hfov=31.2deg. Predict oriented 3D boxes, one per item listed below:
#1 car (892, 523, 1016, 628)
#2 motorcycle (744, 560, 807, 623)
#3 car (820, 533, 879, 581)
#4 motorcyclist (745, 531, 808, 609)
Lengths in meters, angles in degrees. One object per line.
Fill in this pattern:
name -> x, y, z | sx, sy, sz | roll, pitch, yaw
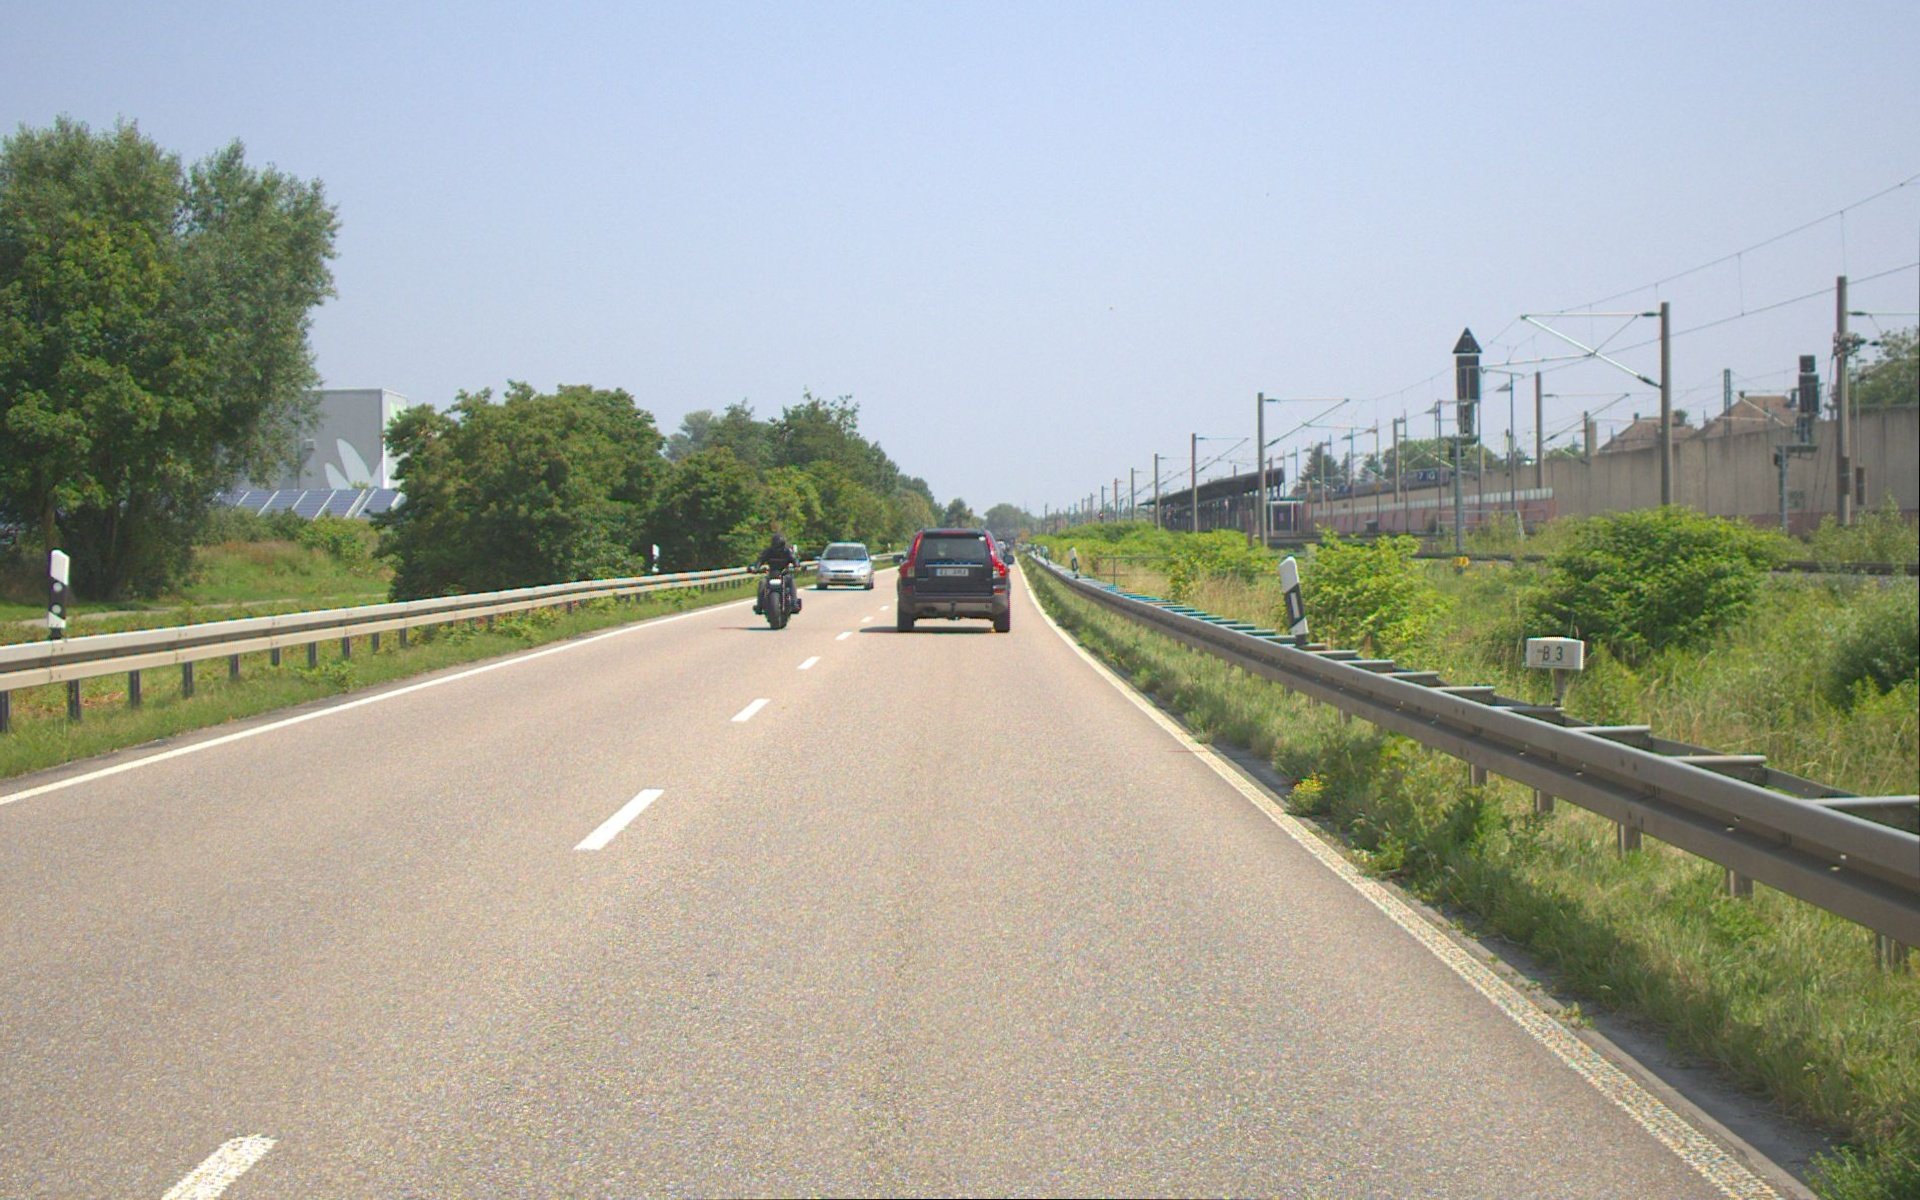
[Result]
car -> -0.137, -0.430, 57.863 | 1.993, 1.694, 4.000 | 0, 1, -1
motorcycle -> -3.130, -0.154, 58.617 | 0.928, 1.024, 2.268 | 1, 1, 0
car -> -3.484, -1.371, 108.979 | 1.698, 1.469, 4.686 | 1, 1, 0
motorcyclist -> -3.125, -0.507, 58.585 | 0.993, 1.305, 0.935 | 1, 1, 0
